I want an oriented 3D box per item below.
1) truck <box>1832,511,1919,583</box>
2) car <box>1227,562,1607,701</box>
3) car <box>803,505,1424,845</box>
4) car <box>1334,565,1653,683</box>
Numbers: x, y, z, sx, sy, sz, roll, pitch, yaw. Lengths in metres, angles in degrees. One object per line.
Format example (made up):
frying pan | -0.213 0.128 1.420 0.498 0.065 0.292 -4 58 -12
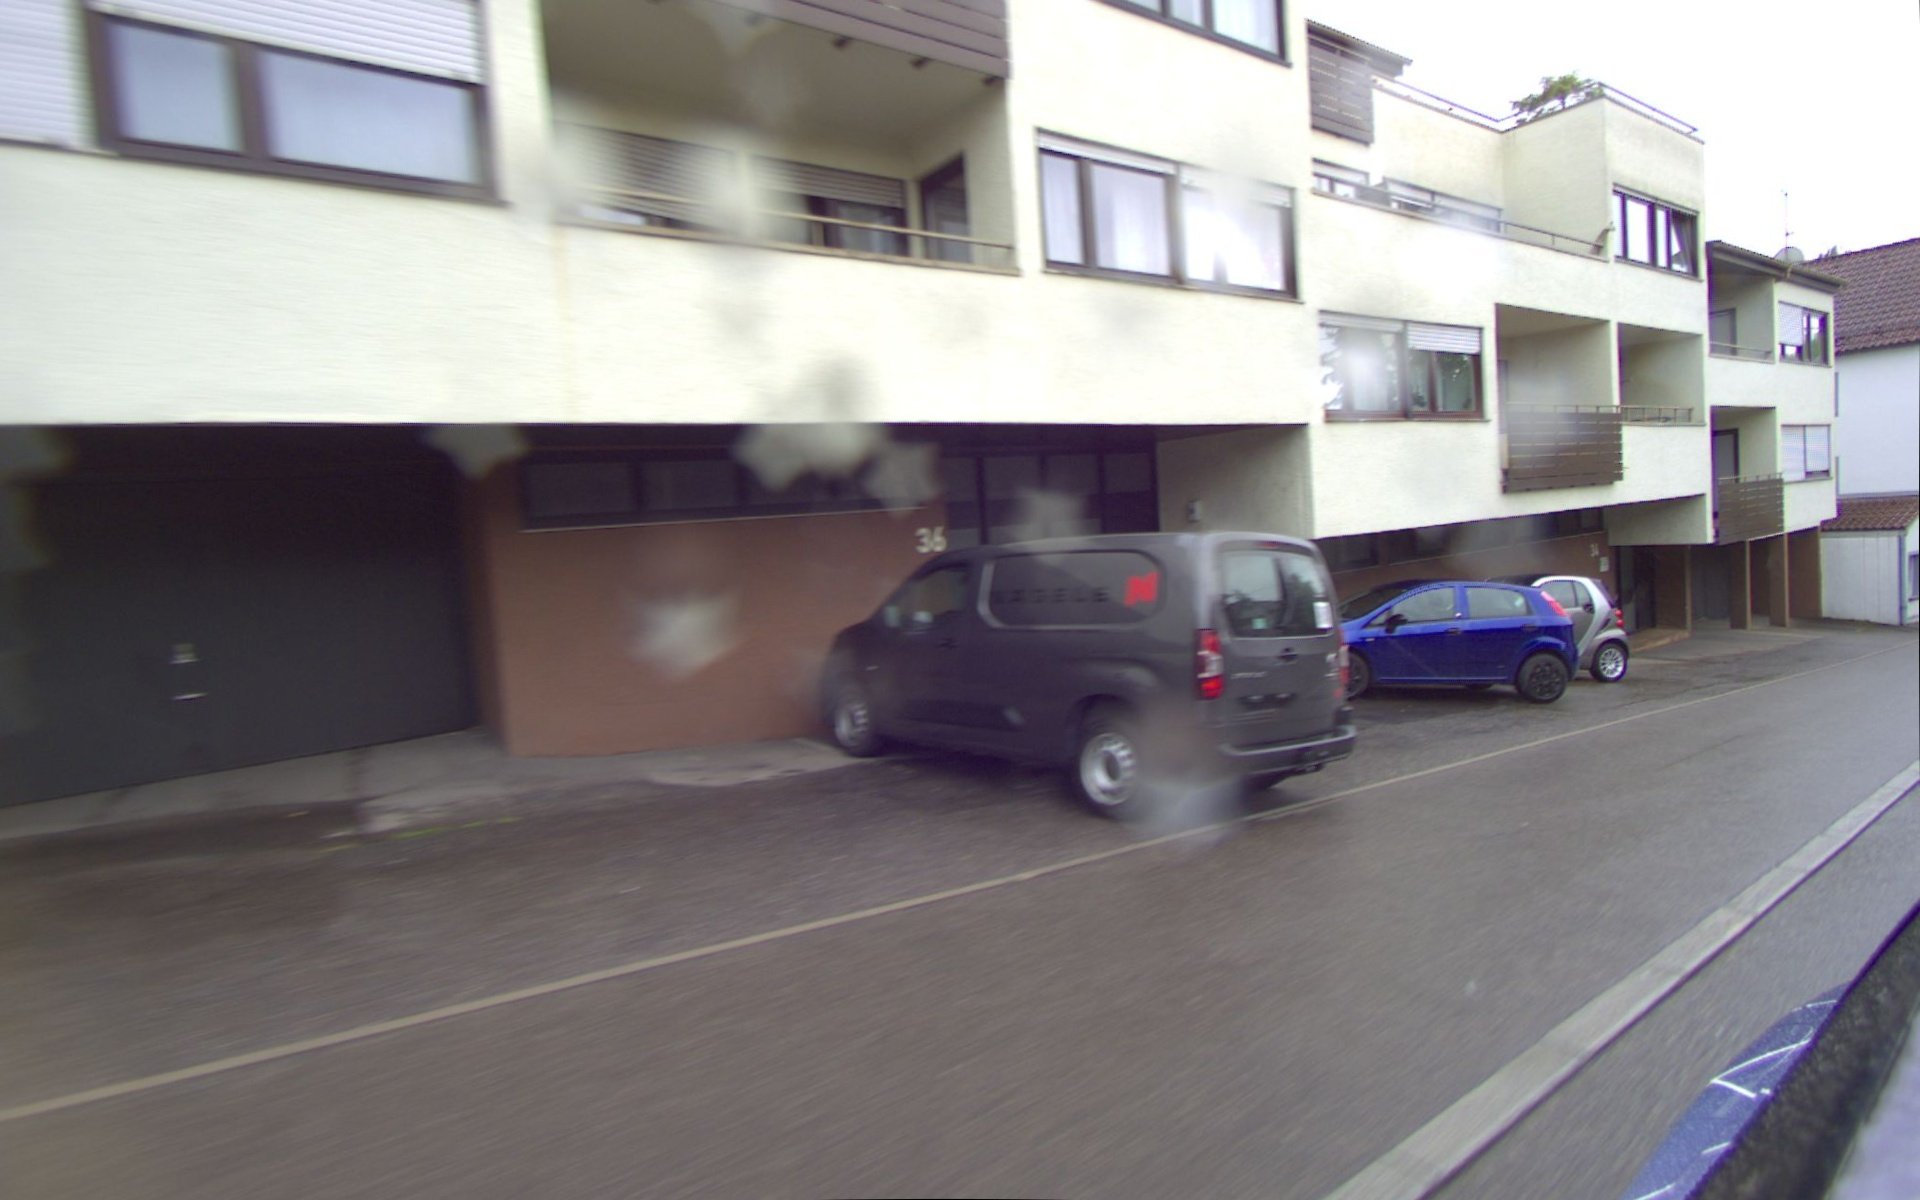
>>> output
truck | 39.339 -1.977 39.985 2.096 2.733 7.001 0 7 -25
car | 5.674 0.374 12.927 3.988 1.599 1.788 -1 -1 -1
car | 0.836 0.340 7.943 1.964 1.843 4.718 0 2 -39
car | 7.958 0.322 15.237 3.982 1.599 1.791 -1 -1 -12
